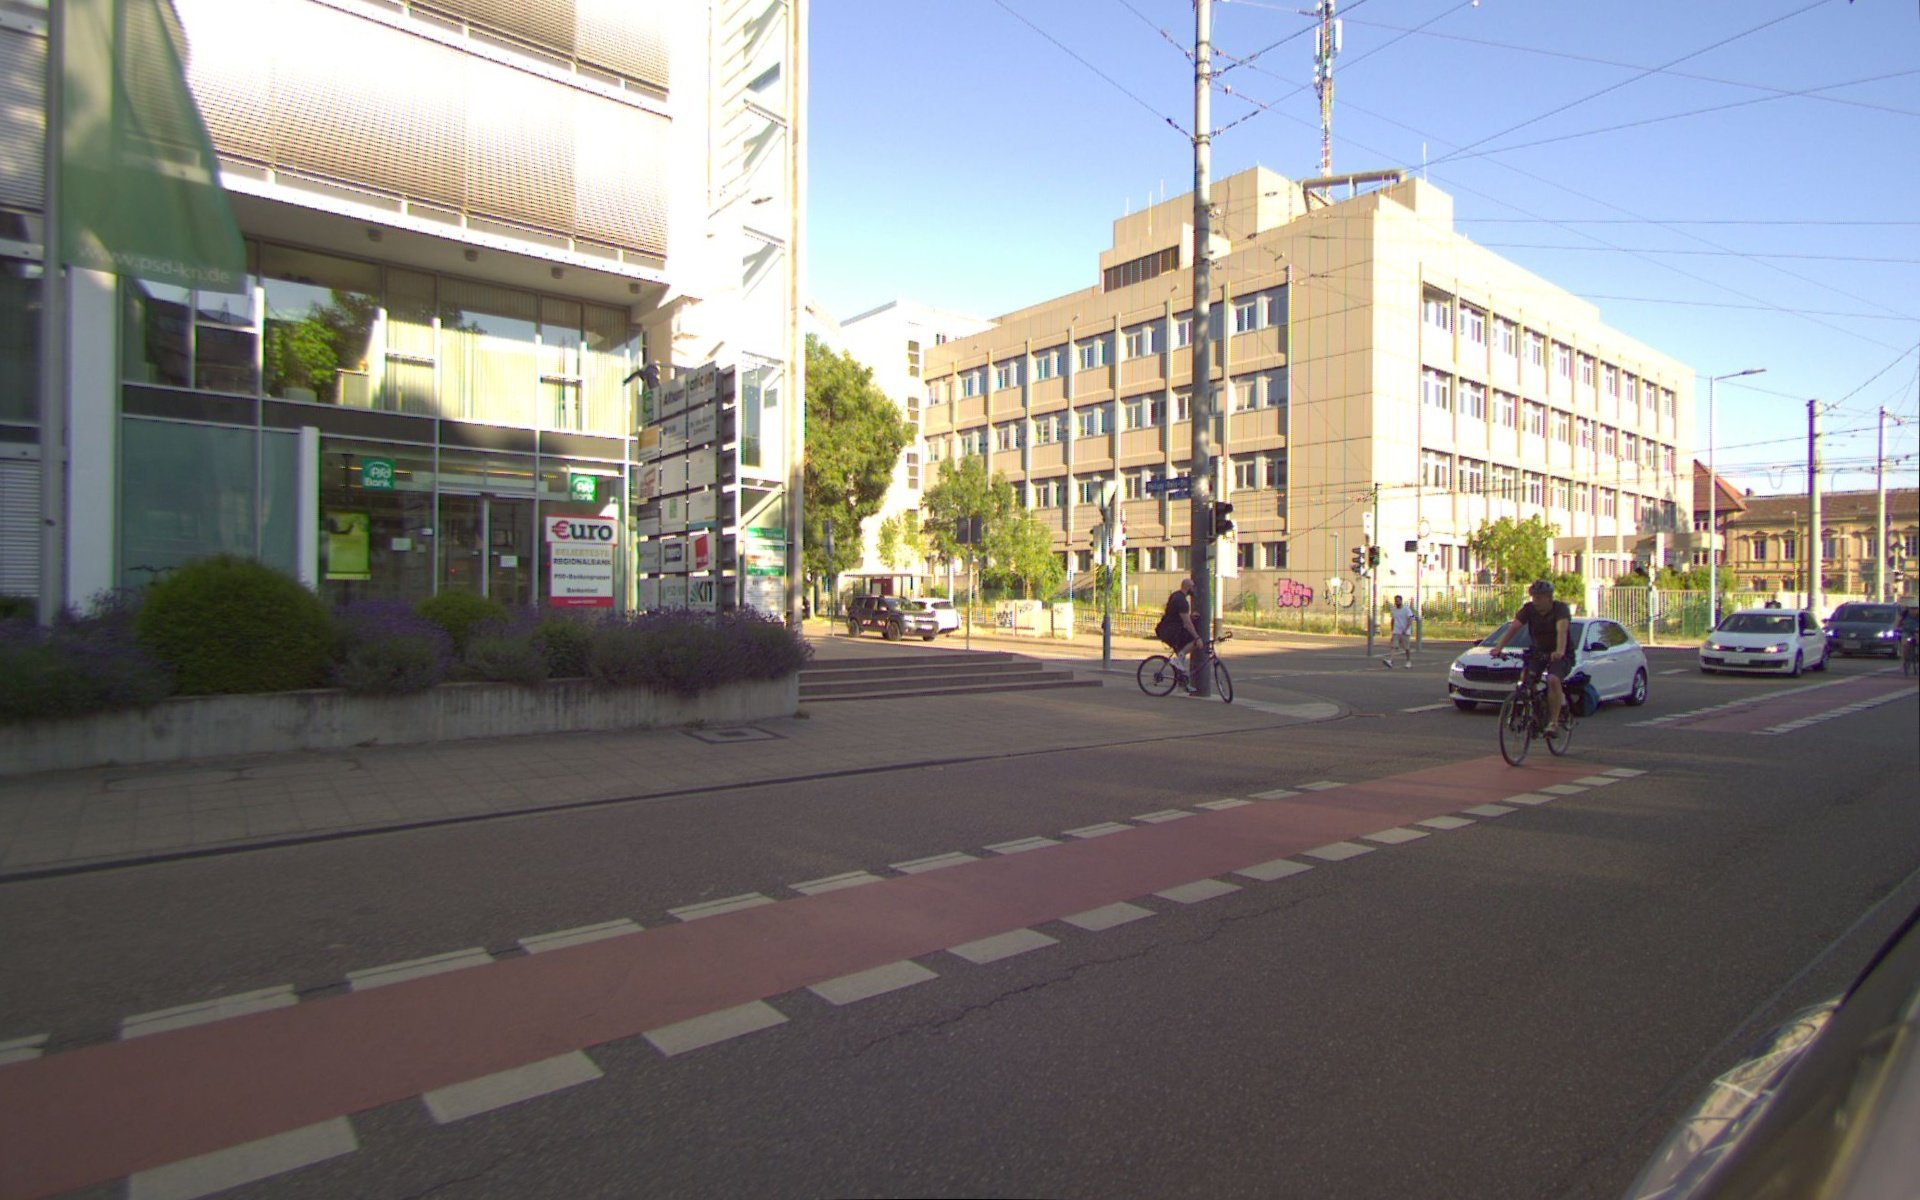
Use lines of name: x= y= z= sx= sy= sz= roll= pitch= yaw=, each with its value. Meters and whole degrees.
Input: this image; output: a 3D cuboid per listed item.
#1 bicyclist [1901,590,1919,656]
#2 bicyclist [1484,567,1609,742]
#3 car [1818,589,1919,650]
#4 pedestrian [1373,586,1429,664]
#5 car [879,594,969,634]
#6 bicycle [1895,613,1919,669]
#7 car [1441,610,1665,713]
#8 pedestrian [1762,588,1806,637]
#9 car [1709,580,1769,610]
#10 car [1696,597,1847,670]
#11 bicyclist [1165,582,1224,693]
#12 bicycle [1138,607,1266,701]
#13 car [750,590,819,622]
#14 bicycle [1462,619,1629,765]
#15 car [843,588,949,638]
bicyclist: x=21.326 y=0.496 z=22.318 sx=0.844 sy=1.440 sz=0.727 roll=0 pitch=-1 yaw=-41
bicyclist: x=5.777 y=0.502 z=9.963 sx=1.068 sy=1.623 sz=0.652 roll=1 pitch=0 yaw=-34
car: x=27.027 y=0.570 z=29.868 sx=4.223 sy=1.664 sz=1.792 roll=0 pitch=-2 yaw=-39
pedestrian: x=10.699 y=0.594 z=24.558 sx=1.194 sy=1.847 sz=0.779 roll=1 pitch=0 yaw=-40
car: x=-1.607 y=0.574 z=44.604 sx=1.964 sy=1.633 sz=3.996 roll=0 pitch=1 yaw=-39
bicycle: x=21.257 y=0.884 z=22.242 sx=2.266 sy=1.159 sz=0.764 roll=1 pitch=0 yaw=-40
car: x=9.296 y=0.864 z=15.758 sx=4.000 sy=1.407 sz=1.705 roll=1 pitch=-1 yaw=-39
pedestrian: x=31.706 y=0.480 z=38.974 sx=1.064 sy=1.836 sz=0.735 roll=1 pitch=0 yaw=8
car: x=49.804 y=-0.309 z=64.693 sx=4.699 sy=1.865 sz=1.998 roll=1 pitch=0 yaw=-39
car: x=18.561 y=0.724 z=23.093 sx=4.223 sy=1.522 sz=1.792 roll=0 pitch=-2 yaw=-39
bicyclist: x=3.678 y=0.566 z=15.848 sx=0.851 sy=1.693 sz=0.649 roll=1 pitch=0 yaw=16
bicycle: x=3.771 y=0.817 z=15.823 sx=1.840 sy=1.297 sz=0.649 roll=3 pitch=1 yaw=16
car: x=-9.500 y=0.285 z=54.519 sx=1.964 sy=1.621 sz=3.996 roll=0 pitch=1 yaw=-39
bicycle: x=5.815 y=0.850 z=10.010 sx=1.928 sy=1.297 sz=0.652 roll=1 pitch=0 yaw=-34
car: x=-2.423 y=0.456 z=37.541 sx=1.951 sy=1.717 sz=3.996 roll=3 pitch=-1 yaw=-39
